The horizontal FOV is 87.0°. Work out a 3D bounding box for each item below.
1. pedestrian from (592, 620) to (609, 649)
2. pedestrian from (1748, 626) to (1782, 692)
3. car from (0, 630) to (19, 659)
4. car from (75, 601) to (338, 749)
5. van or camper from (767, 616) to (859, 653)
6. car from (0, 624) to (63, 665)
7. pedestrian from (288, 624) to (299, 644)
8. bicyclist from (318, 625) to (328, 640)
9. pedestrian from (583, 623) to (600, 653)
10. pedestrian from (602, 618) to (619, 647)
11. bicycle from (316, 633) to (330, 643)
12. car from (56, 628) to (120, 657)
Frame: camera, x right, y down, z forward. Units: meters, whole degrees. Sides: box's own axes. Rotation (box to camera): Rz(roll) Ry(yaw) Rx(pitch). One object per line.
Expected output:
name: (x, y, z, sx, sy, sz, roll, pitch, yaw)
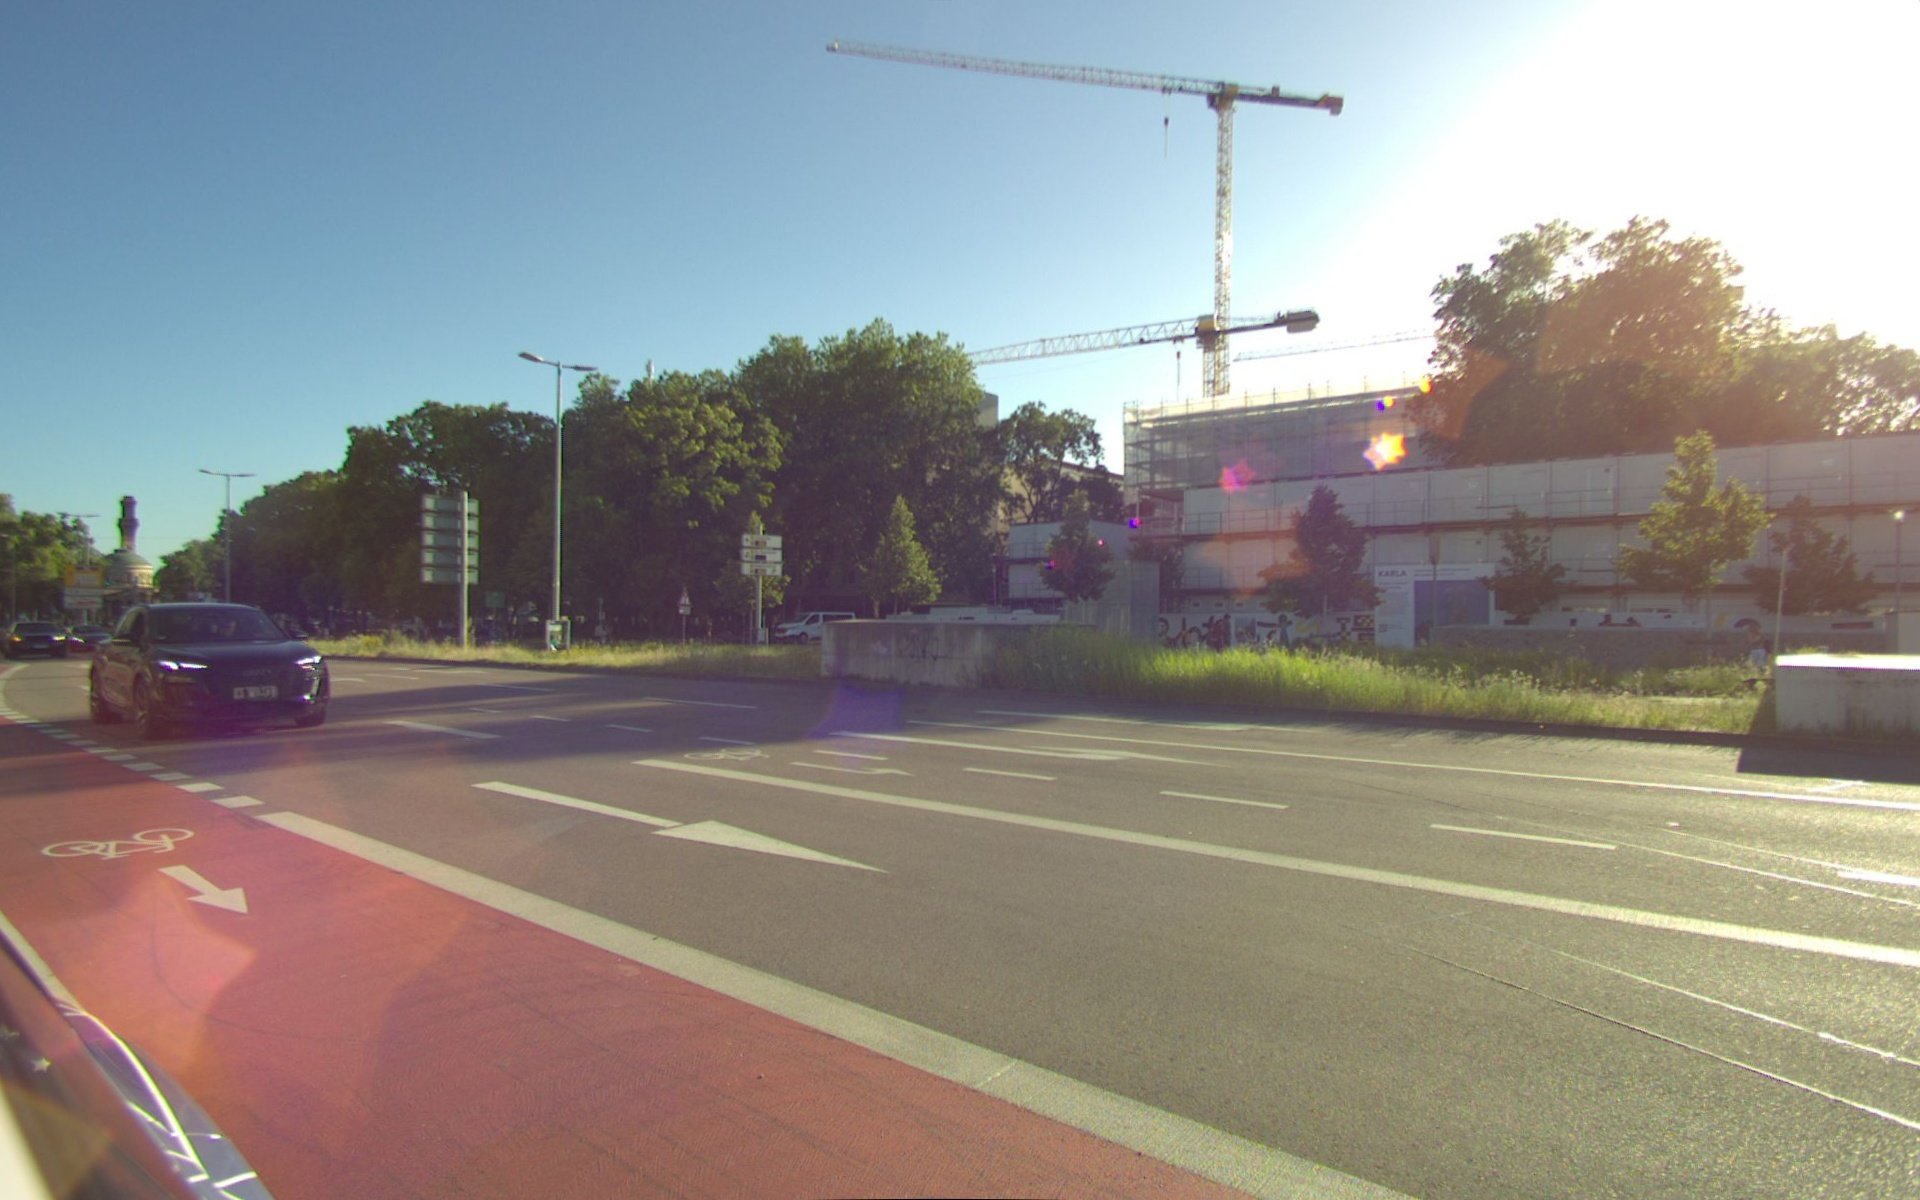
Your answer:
pedestrian: (-21.530, 2.043, 60.527, 0.762, 1.738, 0.656, -1, -2, 41)
pedestrian: (20.651, 1.488, 25.948, 0.626, 1.665, 0.930, -1, -2, 41)
car: (-49.863, 2.304, 51.783, 4.485, 1.417, 1.973, -1, 0, 40)
car: (-10.193, 0.884, 13.548, 4.614, 1.656, 1.912, -1, -1, 41)
van or camper: (-8.937, 2.041, 61.950, 1.948, 2.029, 5.576, -1, 0, 42)
car: (-41.862, 1.945, 45.225, 4.321, 1.732, 1.974, -1, -2, 39)
pedestrian: (-62.563, 3.191, 95.040, 0.924, 1.862, 0.620, -1, -2, 40)
bicyclist: (-56.648, 2.876, 90.013, 0.714, 1.291, 0.603, -1, -2, 40)
pedestrian: (-21.831, 2.251, 59.942, 0.762, 1.738, 0.698, -1, -2, 41)
pedestrian: (-21.114, 1.978, 61.160, 0.761, 1.738, 0.698, -1, -2, 38)
bicycle: (-56.649, 3.404, 89.998, 1.744, 0.849, 0.602, -1, -2, 40)
car: (-46.108, 2.224, 53.465, 4.486, 1.417, 1.973, -1, 0, 42)
